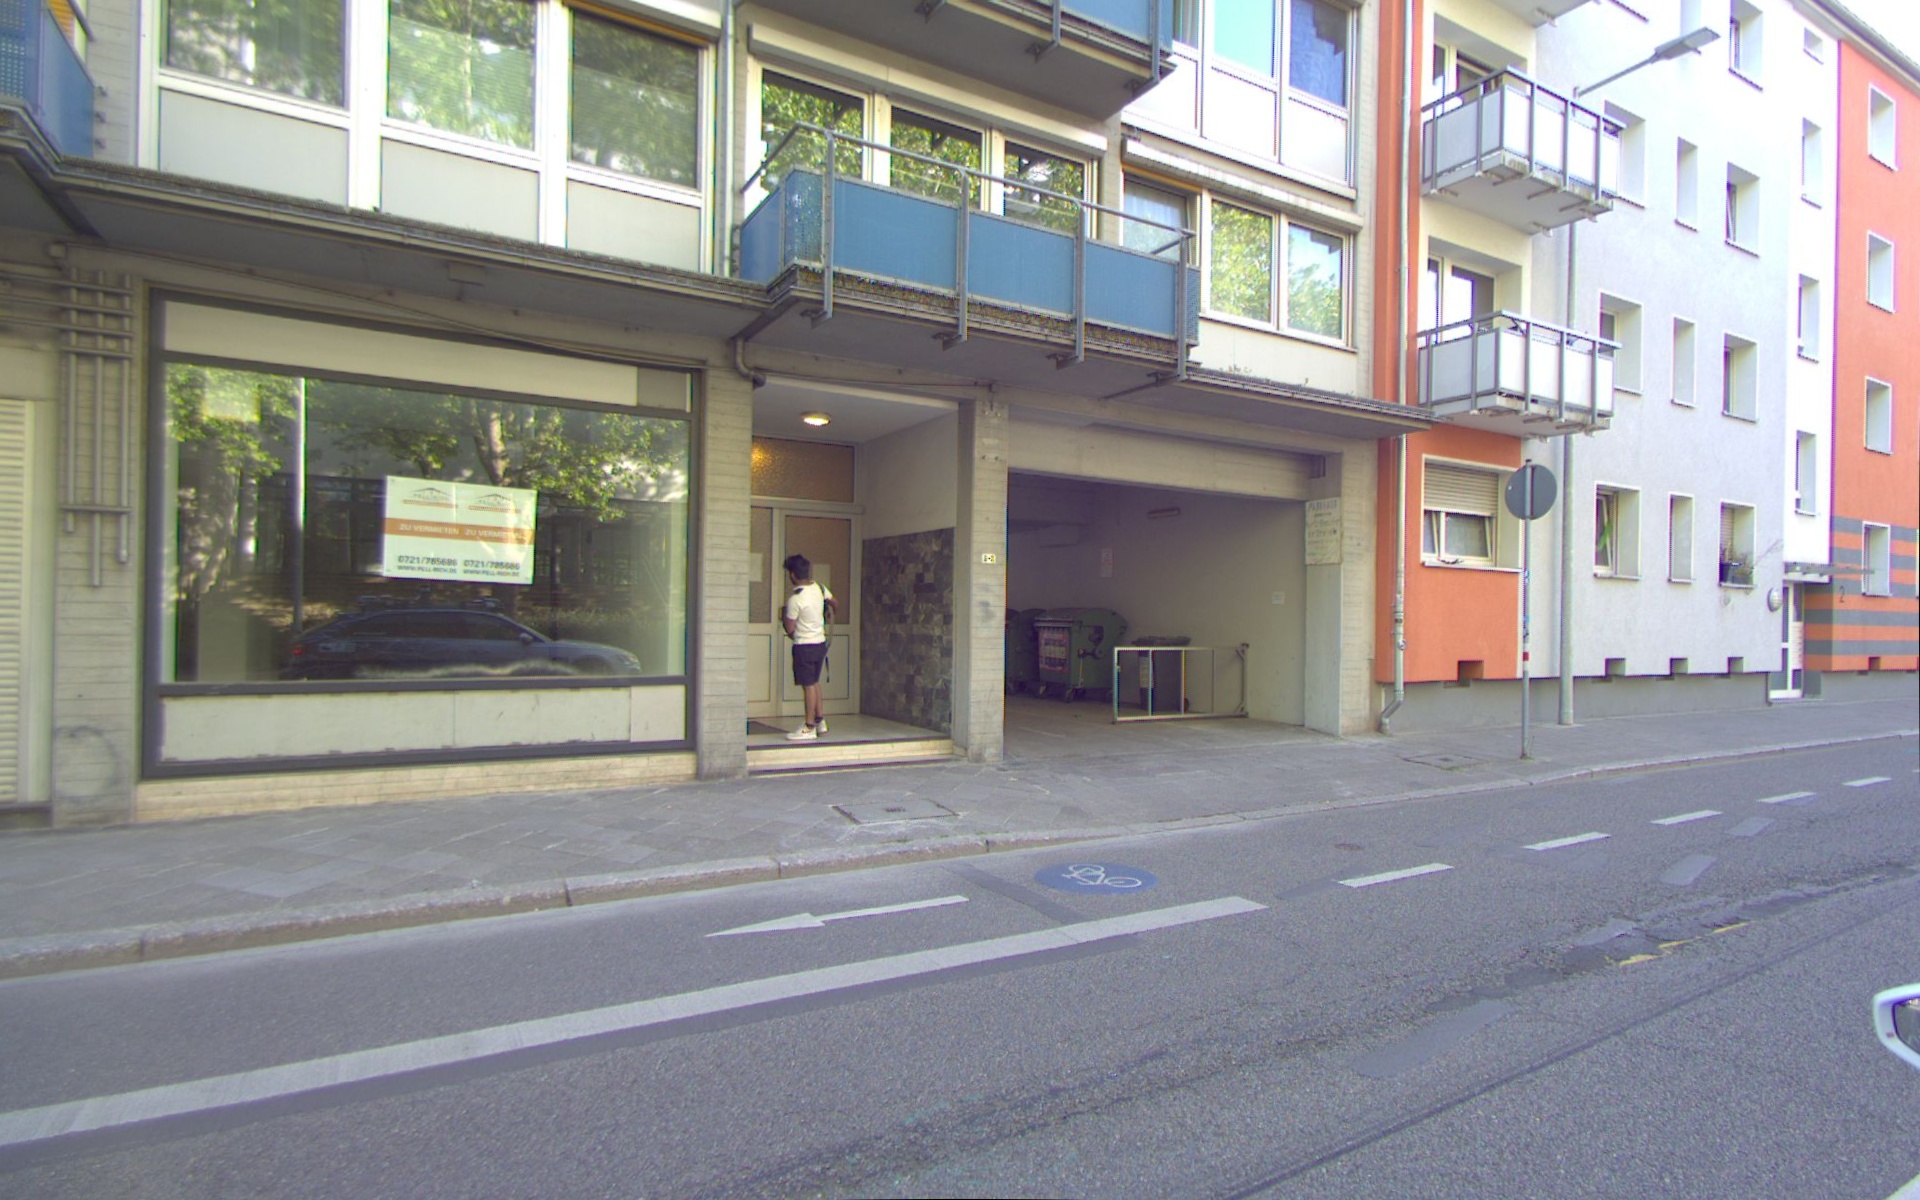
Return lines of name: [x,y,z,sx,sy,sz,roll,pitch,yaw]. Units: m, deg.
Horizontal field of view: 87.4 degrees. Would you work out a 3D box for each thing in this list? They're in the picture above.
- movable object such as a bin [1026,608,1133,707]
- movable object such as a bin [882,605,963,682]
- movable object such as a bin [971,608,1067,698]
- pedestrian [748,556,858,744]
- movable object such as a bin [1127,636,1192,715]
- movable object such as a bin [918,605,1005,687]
movable object such as a bin: [1.864,0.880,15.807,1.120,1.444,1.268,2,0,-28]
movable object such as a bin: [-0.753,0.842,19.784,1.120,1.444,1.268,2,0,-28]
movable object such as a bin: [0.996,0.875,17.149,1.120,1.444,1.268,2,0,-28]
pedestrian: [-1.433,0.445,9.319,0.820,1.639,0.794,2,0,3]
movable object such as a bin: [2.876,1.079,14.483,0.713,1.094,0.533,2,0,-29]
movable object such as a bin: [0.018,0.838,18.693,1.120,1.444,1.268,2,0,-28]
